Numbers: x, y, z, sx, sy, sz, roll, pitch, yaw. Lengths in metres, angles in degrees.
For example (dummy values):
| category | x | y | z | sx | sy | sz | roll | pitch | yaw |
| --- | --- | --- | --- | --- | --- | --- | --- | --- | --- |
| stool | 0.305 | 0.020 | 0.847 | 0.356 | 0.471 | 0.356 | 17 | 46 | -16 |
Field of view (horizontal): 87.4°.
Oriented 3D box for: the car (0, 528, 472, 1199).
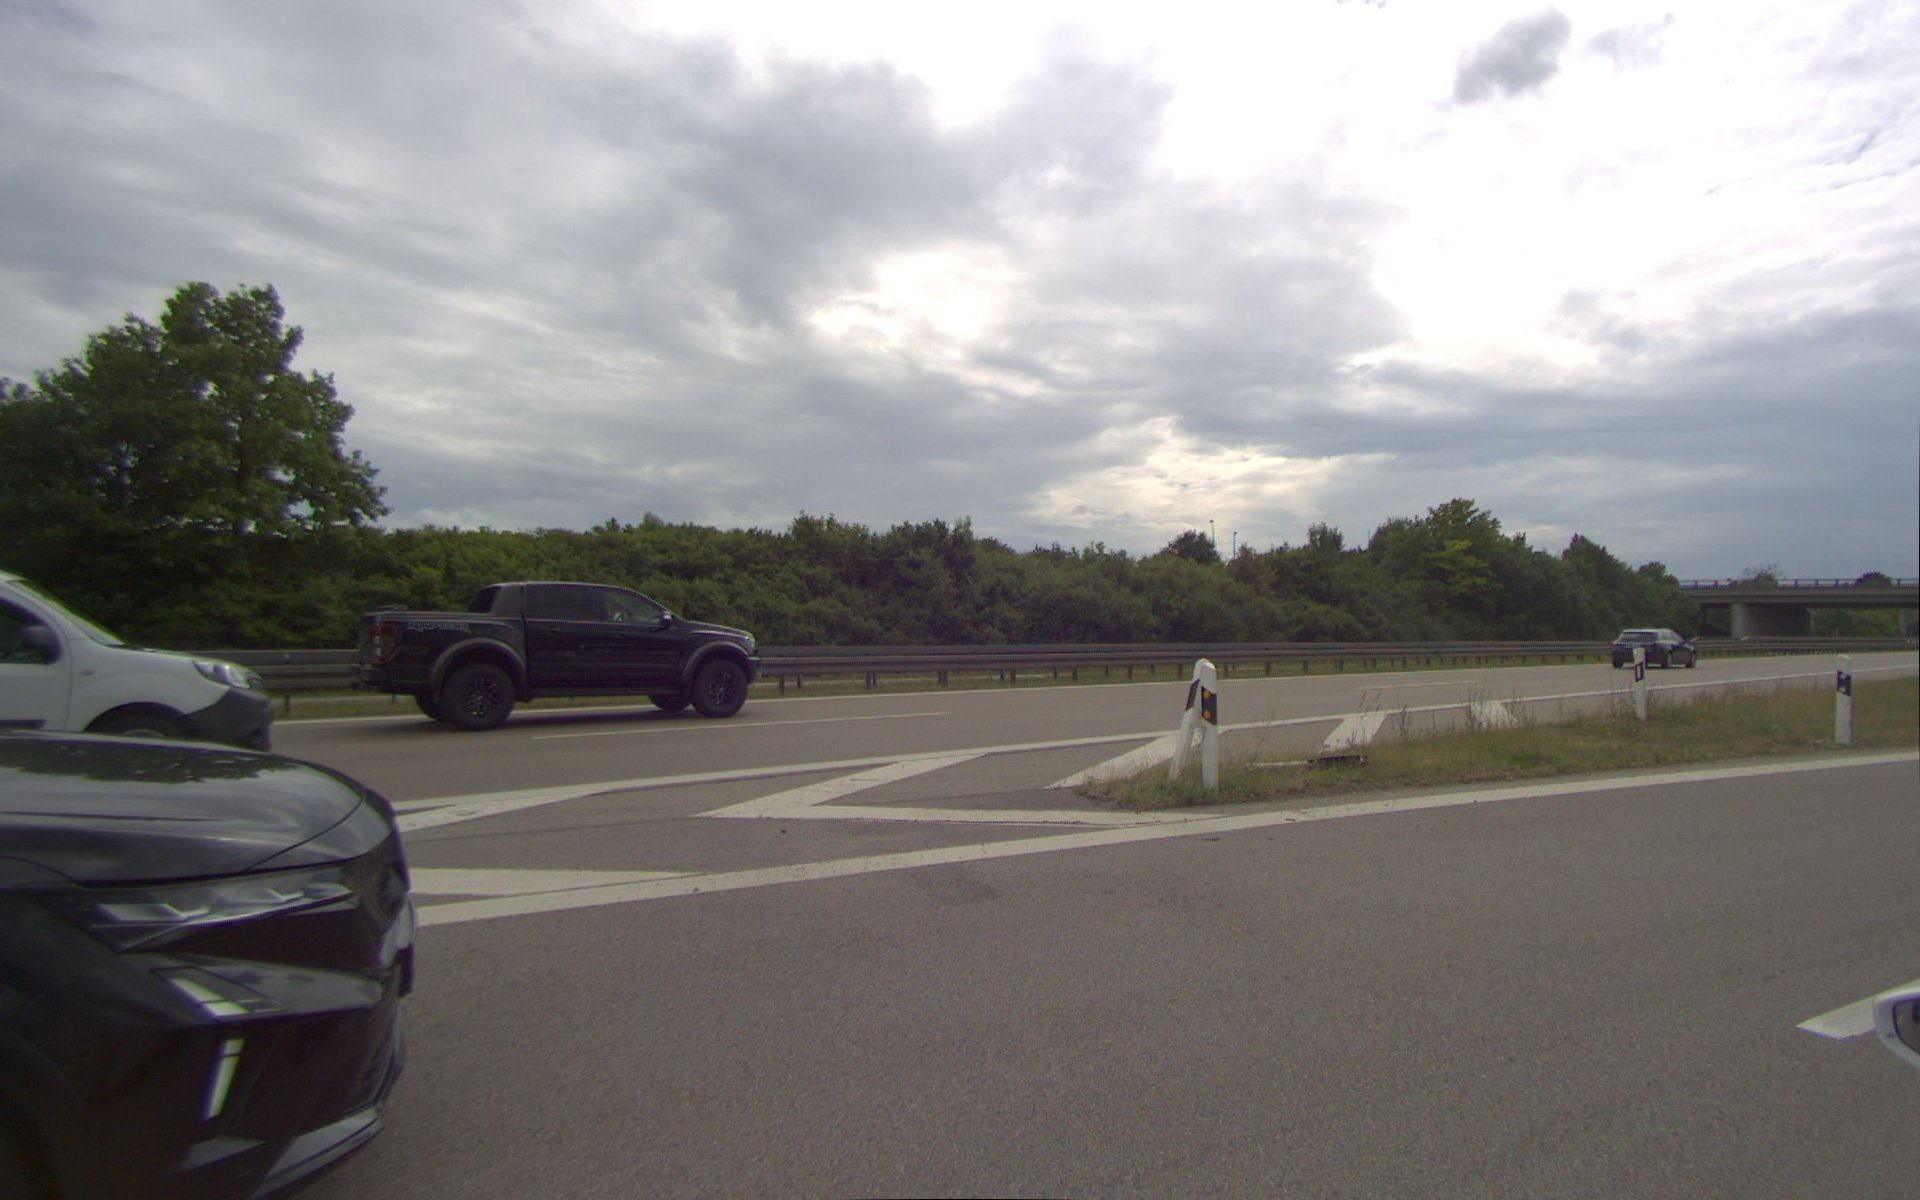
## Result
| category | x | y | z | sx | sy | sz | roll | pitch | yaw |
| --- | --- | --- | --- | --- | --- | --- | --- | --- | --- |
| car | -3.375 | 0.652 | 1.741 | 4.444 | 1.587 | 1.825 | 1 | -1 | -30 |

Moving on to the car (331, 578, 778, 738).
| category | x | y | z | sx | sy | sz | roll | pitch | yaw |
| --- | --- | --- | --- | --- | --- | --- | --- | --- | --- |
| car | -5.359 | 0.733 | 13.777 | 5.364 | 1.809 | 1.978 | 2 | -2 | -38 |

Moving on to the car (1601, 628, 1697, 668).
| category | x | y | z | sx | sy | sz | roll | pitch | yaw |
| --- | --- | --- | --- | --- | --- | --- | --- | --- | --- |
| car | 26.273 | 1.809 | 38.235 | 4.755 | 1.442 | 1.709 | 2 | -2 | -38 |

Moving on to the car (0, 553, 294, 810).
| category | x | y | z | sx | sy | sz | roll | pitch | yaw |
| --- | --- | --- | --- | --- | --- | --- | --- | --- | --- |
| car | -7.616 | 0.569 | 7.350 | 4.447 | 1.774 | 1.862 | 2 | -2 | -38 |
